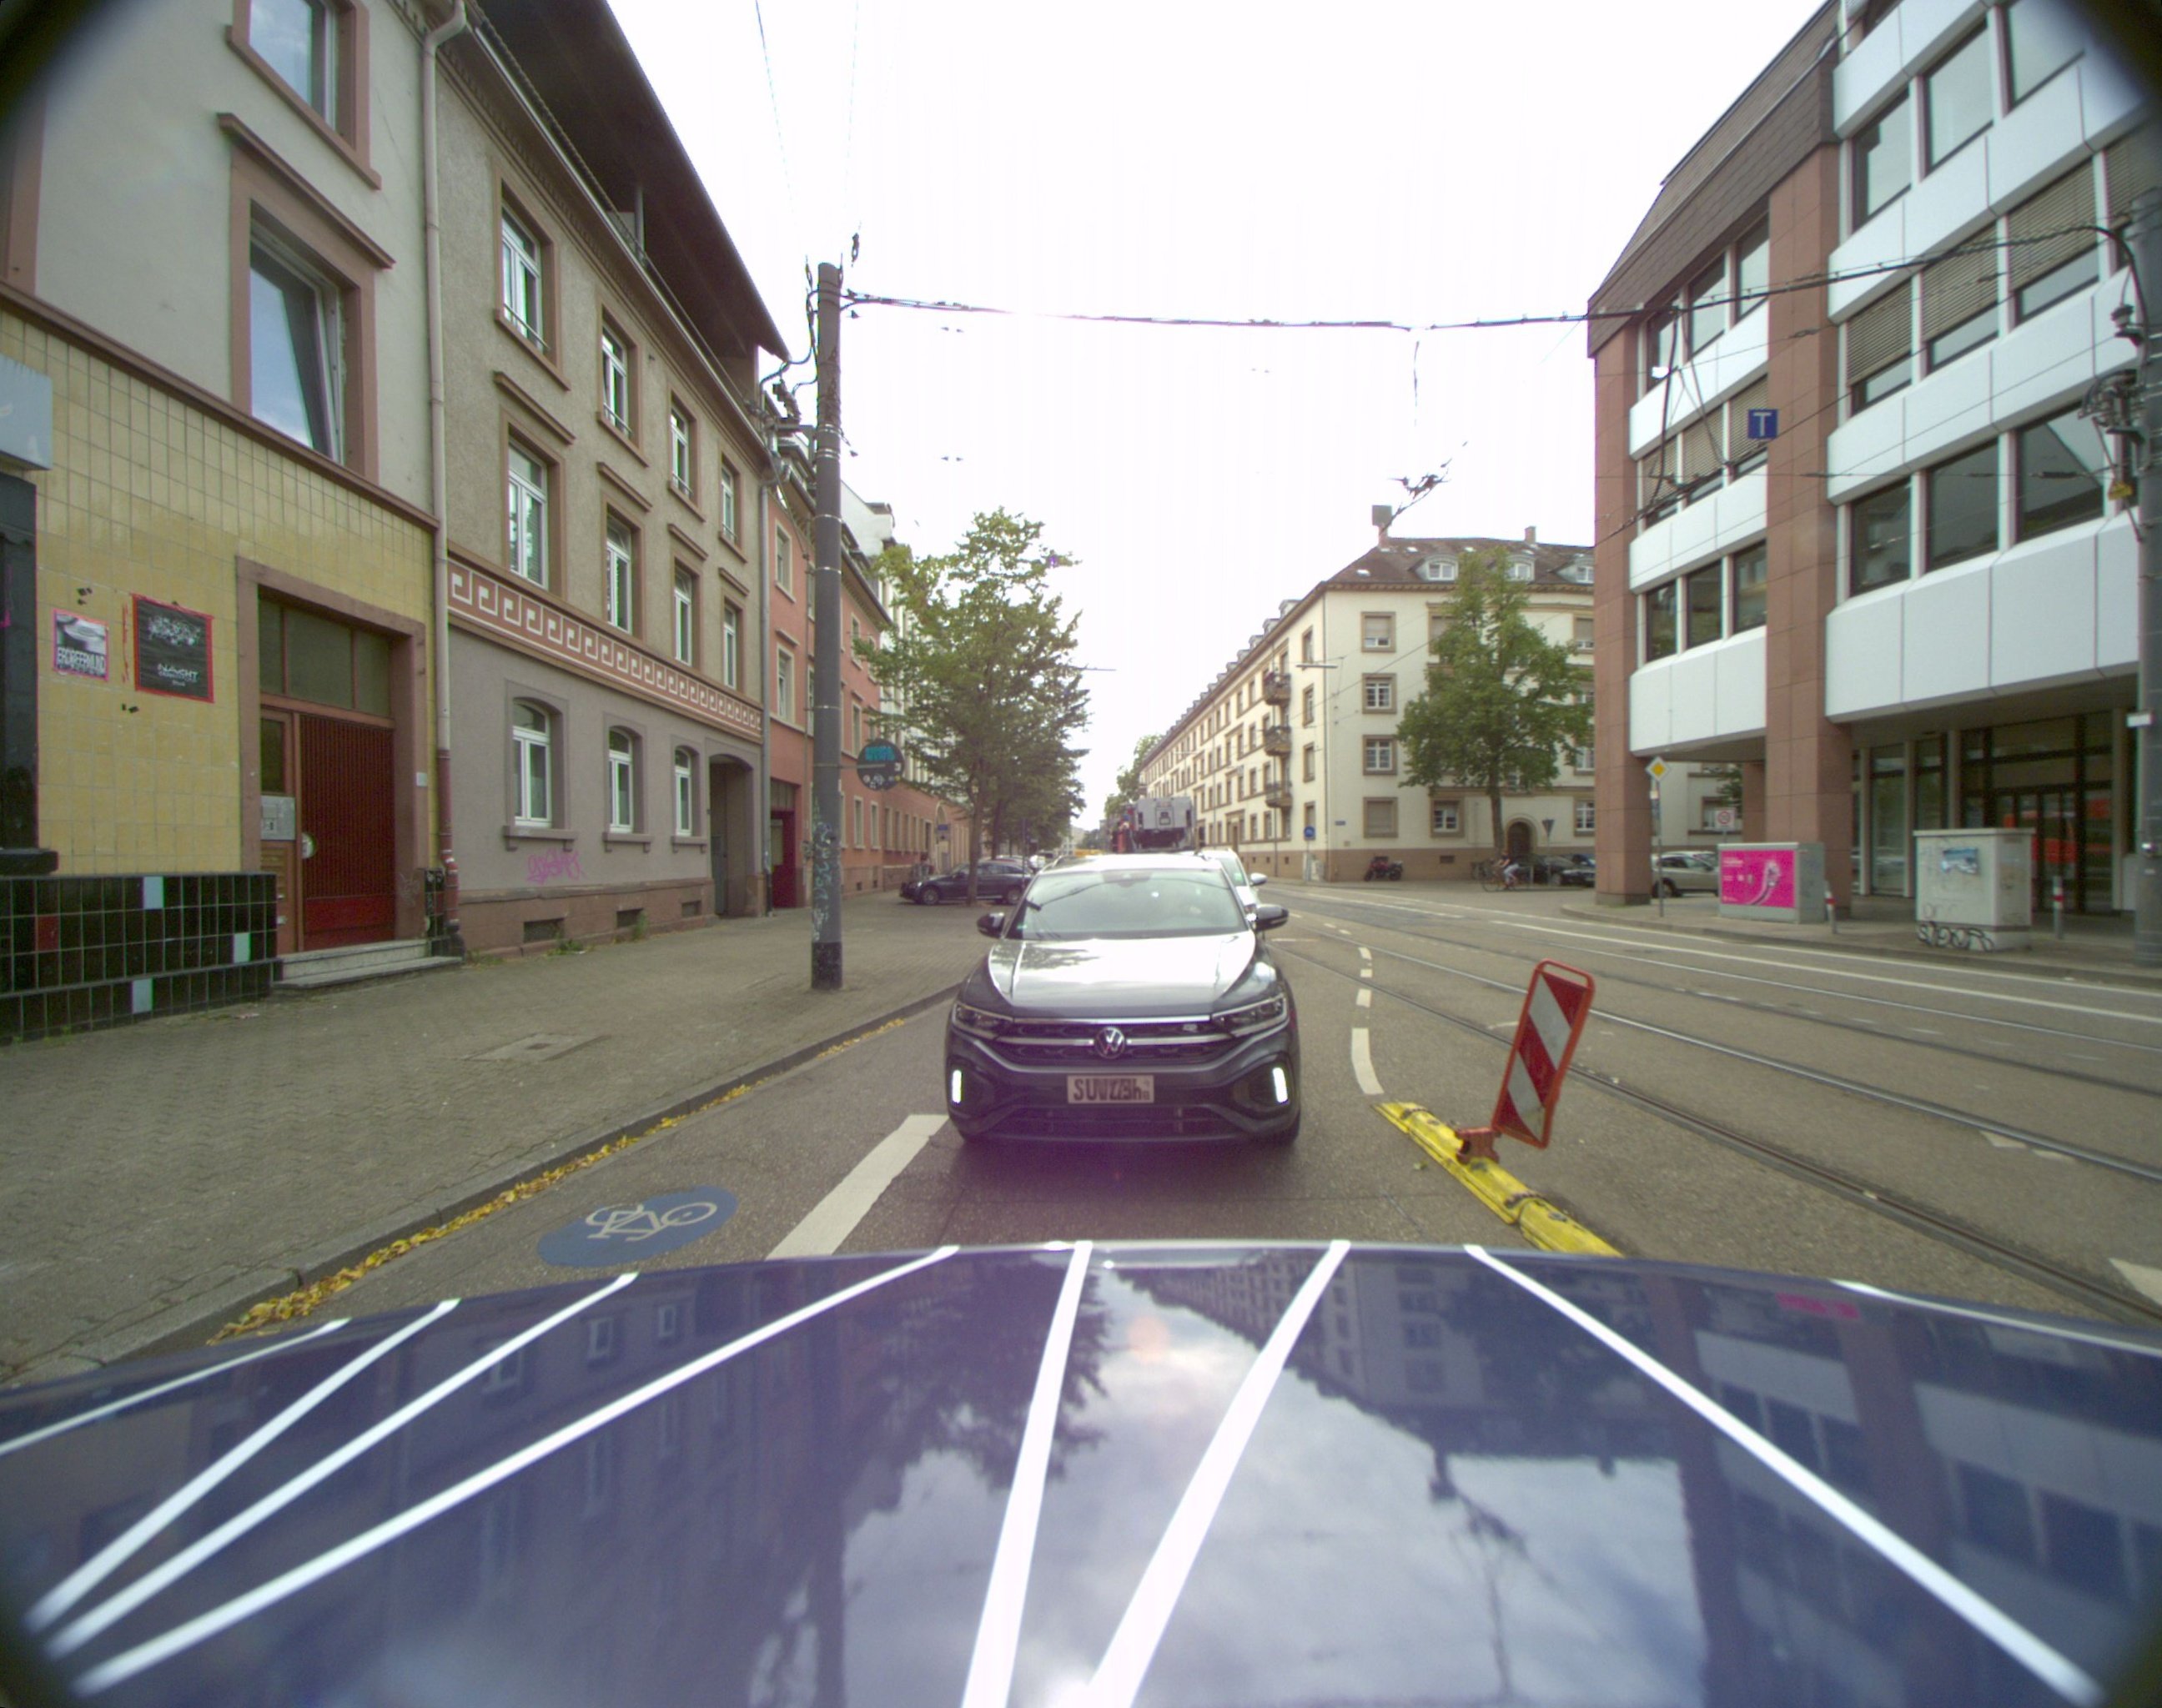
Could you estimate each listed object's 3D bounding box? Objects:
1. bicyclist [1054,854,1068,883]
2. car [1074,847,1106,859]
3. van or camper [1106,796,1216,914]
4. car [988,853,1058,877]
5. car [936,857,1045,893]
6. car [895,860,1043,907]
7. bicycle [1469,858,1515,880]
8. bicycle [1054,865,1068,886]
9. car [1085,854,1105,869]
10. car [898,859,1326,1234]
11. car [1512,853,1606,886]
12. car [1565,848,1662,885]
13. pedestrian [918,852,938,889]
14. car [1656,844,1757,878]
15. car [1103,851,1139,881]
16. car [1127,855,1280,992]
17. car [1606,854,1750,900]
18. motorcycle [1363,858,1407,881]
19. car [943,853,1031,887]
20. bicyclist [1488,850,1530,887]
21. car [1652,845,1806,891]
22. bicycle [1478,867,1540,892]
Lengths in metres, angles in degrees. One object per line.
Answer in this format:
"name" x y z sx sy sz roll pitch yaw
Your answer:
"bicyclist" -1.057 0.760 40.247 0.715 1.498 0.918 -2 0 -1
"car" 1.595 -0.189 135.975 2.554 2.142 5.912 -1 0 -40
"van or camper" 2.485 0.032 26.832 2.607 3.401 9.651 -1 0 -1
"car" -4.225 0.824 55.371 4.635 1.688 1.913 1 0 -24
"car" -3.895 0.904 32.785 4.351 1.471 1.786 1 0 -24
"car" -3.782 0.966 25.711 4.635 1.464 1.786 1 0 -24
"bicycle" 20.813 0.747 38.494 1.924 1.080 0.793 -1 0 -1
"bicycle" -1.051 1.130 40.269 0.714 1.012 1.800 -2 0 -1
"car" 1.425 0.725 77.878 1.911 1.478 4.000 -1 0 1
"car" 0.287 0.854 5.382 1.773 1.538 4.283 -2 0 5
"car" 21.166 0.661 33.837 1.611 1.388 3.874 -1 0 -3
"car" 23.566 0.526 33.801 1.611 1.538 3.715 -1 0 -3
"pedestrian" -7.310 0.785 36.361 0.732 1.678 0.926 3 0 -1
"car" 28.493 0.302 34.747 1.592 1.453 3.524 -1 0 -3
"car" 2.351 0.682 45.363 1.998 1.698 4.053 -1 0 1
"car" 1.643 0.853 11.323 1.773 1.582 4.283 -2 0 5
"car" 19.189 0.707 24.462 3.650 1.380 1.611 -1 0 -9
"motorcycle" 15.301 0.772 38.276 1.924 1.080 0.793 -1 0 -1
"car" -4.938 0.846 39.920 4.245 1.688 1.736 1 0 -24
"bicyclist" 16.831 0.565 29.902 1.258 1.453 0.678 -1 0 6
"car" 24.317 0.515 28.651 4.043 1.528 1.776 -2 0 9
"bicycle" 16.825 0.998 29.903 2.010 0.959 0.673 -1 -1 6
